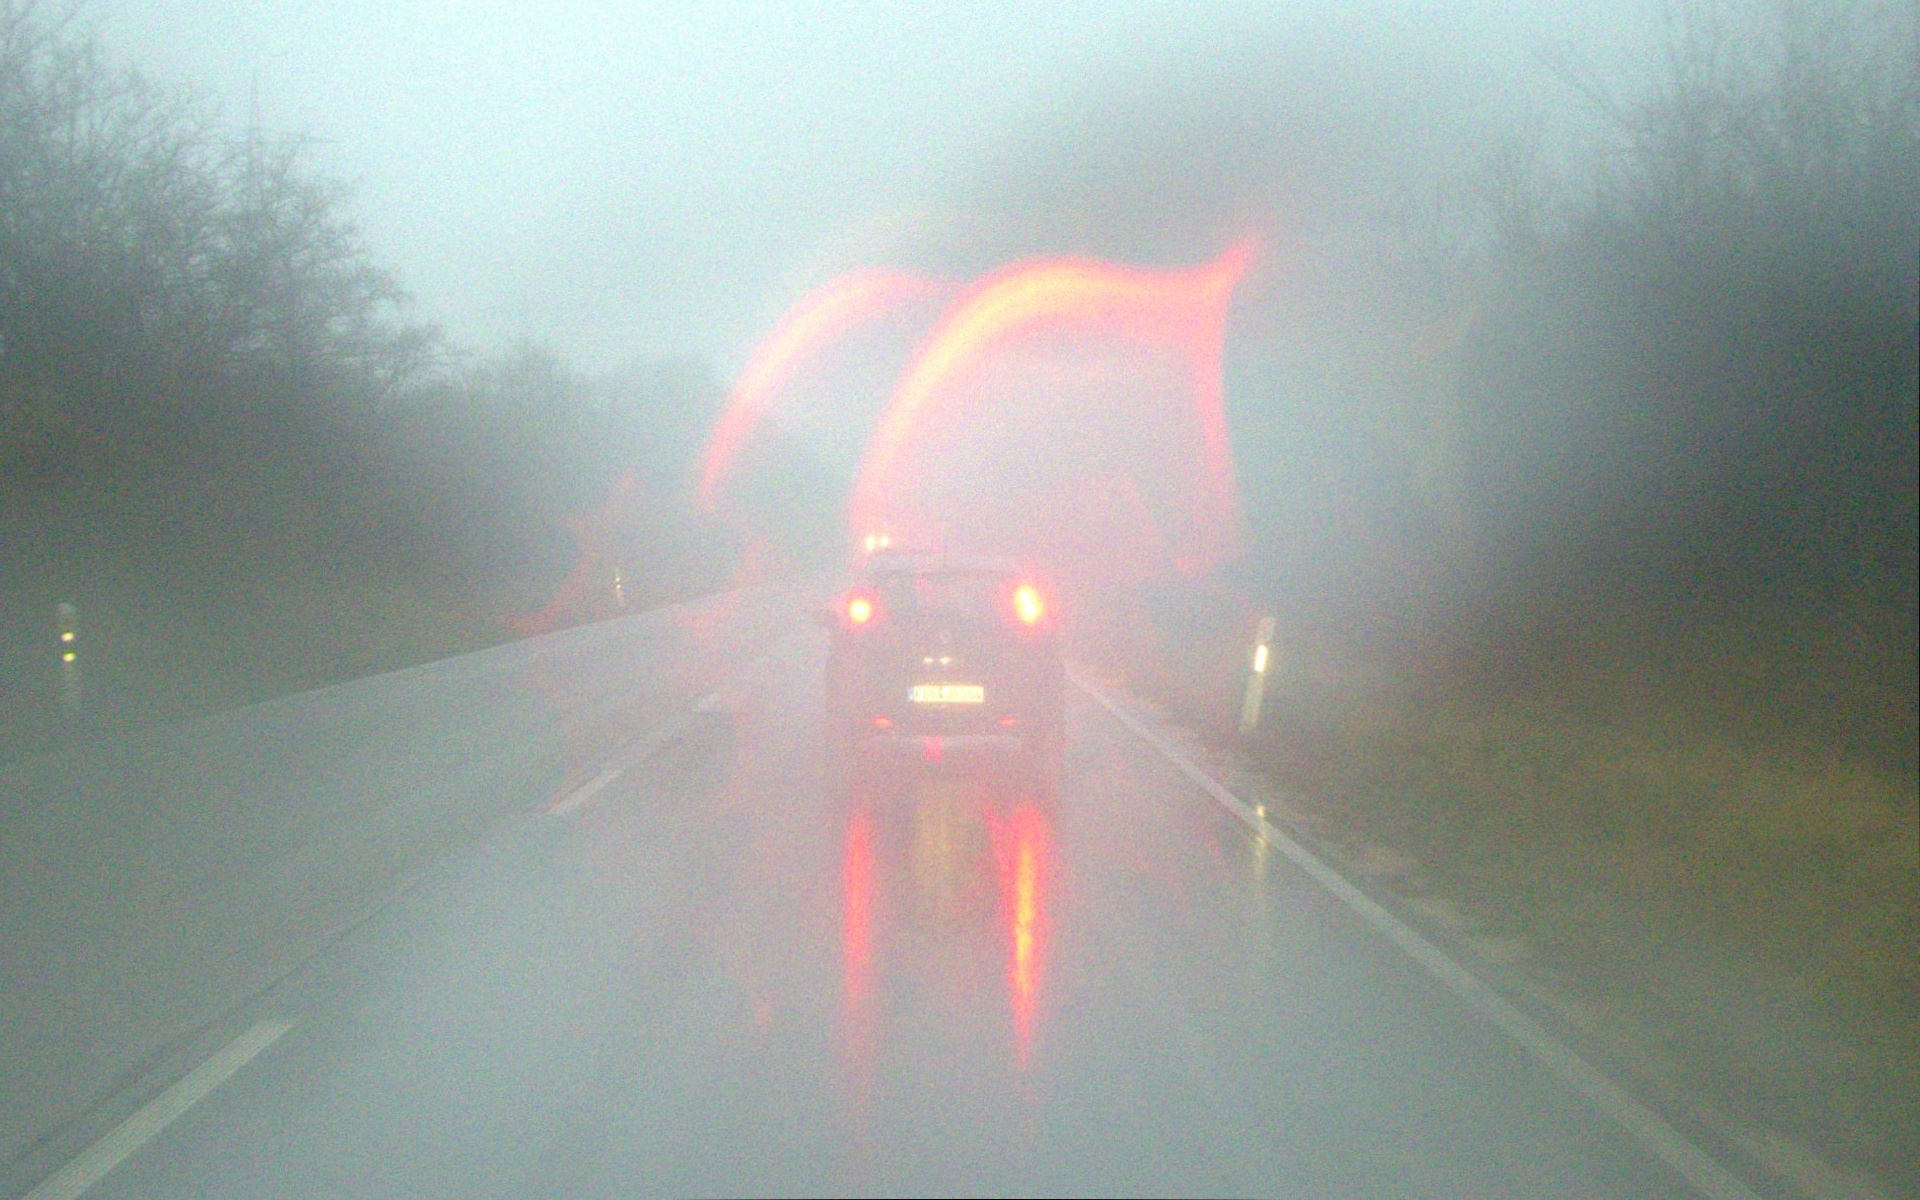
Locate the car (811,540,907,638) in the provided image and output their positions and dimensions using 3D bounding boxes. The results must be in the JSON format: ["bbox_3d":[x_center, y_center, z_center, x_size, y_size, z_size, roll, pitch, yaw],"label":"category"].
[{"bbox_3d":[-1.887,-0.224,64.888,1.733,1.773,4.000,1,1,-1],"label":"car"}]

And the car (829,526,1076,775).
[{"bbox_3d":[-0.074,0.318,25.049,1.648,1.666,3.514,1,1,-1],"label":"car"}]
